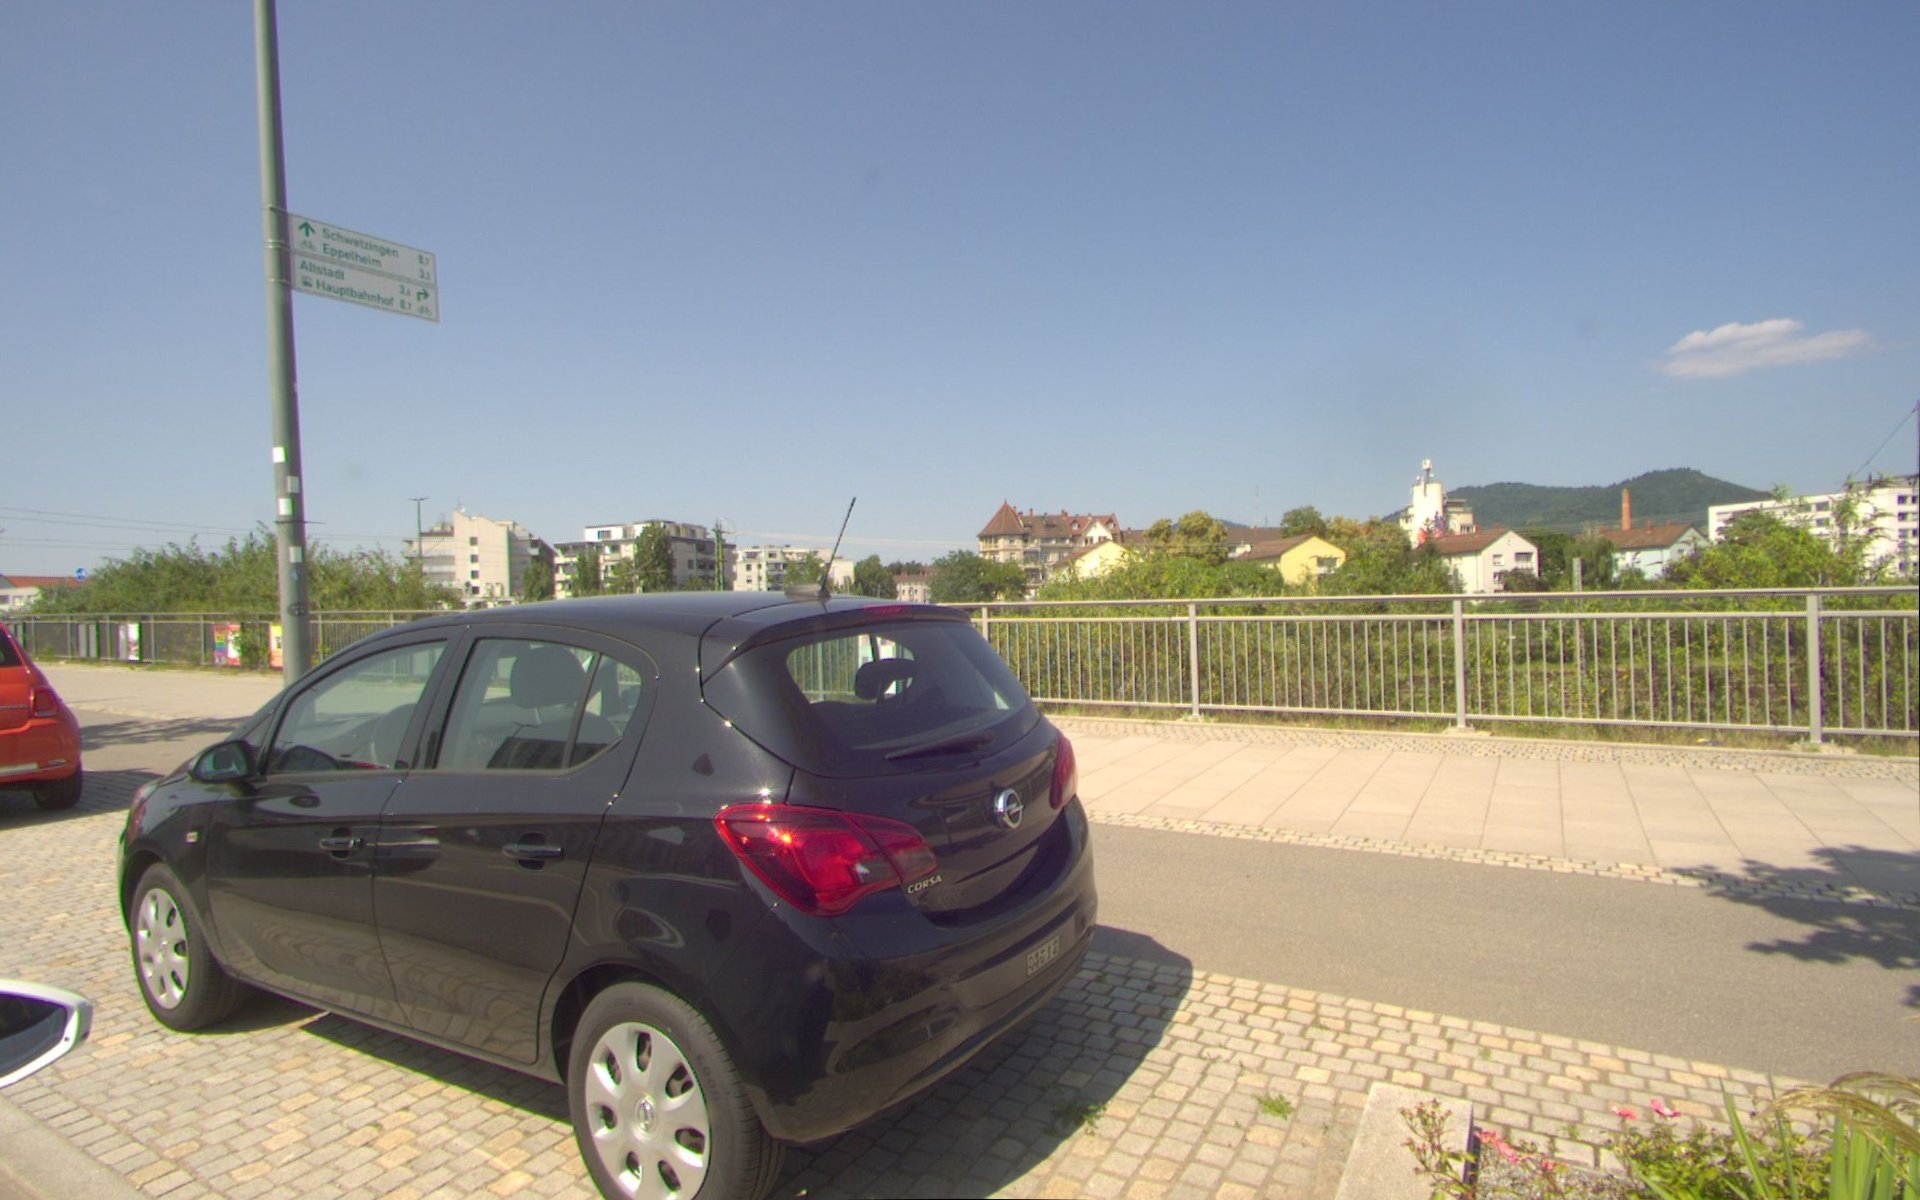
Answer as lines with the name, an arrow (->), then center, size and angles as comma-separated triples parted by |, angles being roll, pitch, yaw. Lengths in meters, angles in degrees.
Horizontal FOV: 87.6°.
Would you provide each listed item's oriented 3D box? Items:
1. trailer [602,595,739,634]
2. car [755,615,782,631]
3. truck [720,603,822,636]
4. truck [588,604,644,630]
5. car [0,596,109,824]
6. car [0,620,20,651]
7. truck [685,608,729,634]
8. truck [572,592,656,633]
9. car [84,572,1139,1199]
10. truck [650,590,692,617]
trailer -> -26.802, 1.540, 94.546 | 3.674, 3.243, 17.244 | -1, -3, 17
car -> -25.413, 3.039, 132.953 | 1.963, 2.039, 3.998 | -1, -2, 15
truck -> -21.148, 2.364, 114.164 | 3.674, 3.243, 17.876 | -1, -3, 17
truck -> -34.120, 1.732, 99.533 | 2.081, 2.396, 5.866 | -1, -2, 19
car -> -8.342, 0.780, 7.781 | 3.863, 1.561, 1.664 | 0, 2, 35
car -> -45.084, 1.609, 45.460 | 1.557, 1.457, 3.151 | -1, -2, 16
truck -> -29.485, 2.464, 116.896 | 2.081, 2.919, 5.866 | -1, -2, 19
truck -> -29.493, 1.171, 85.601 | 3.672, 3.244, 6.485 | -1, -2, 17
car -> -1.324, 0.744, 3.483 | 3.495, 1.577, 1.577 | -1, 2, 32
truck -> -29.844, 0.372, 103.439 | 1.964, 2.572, 4.705 | -1, -2, 16
